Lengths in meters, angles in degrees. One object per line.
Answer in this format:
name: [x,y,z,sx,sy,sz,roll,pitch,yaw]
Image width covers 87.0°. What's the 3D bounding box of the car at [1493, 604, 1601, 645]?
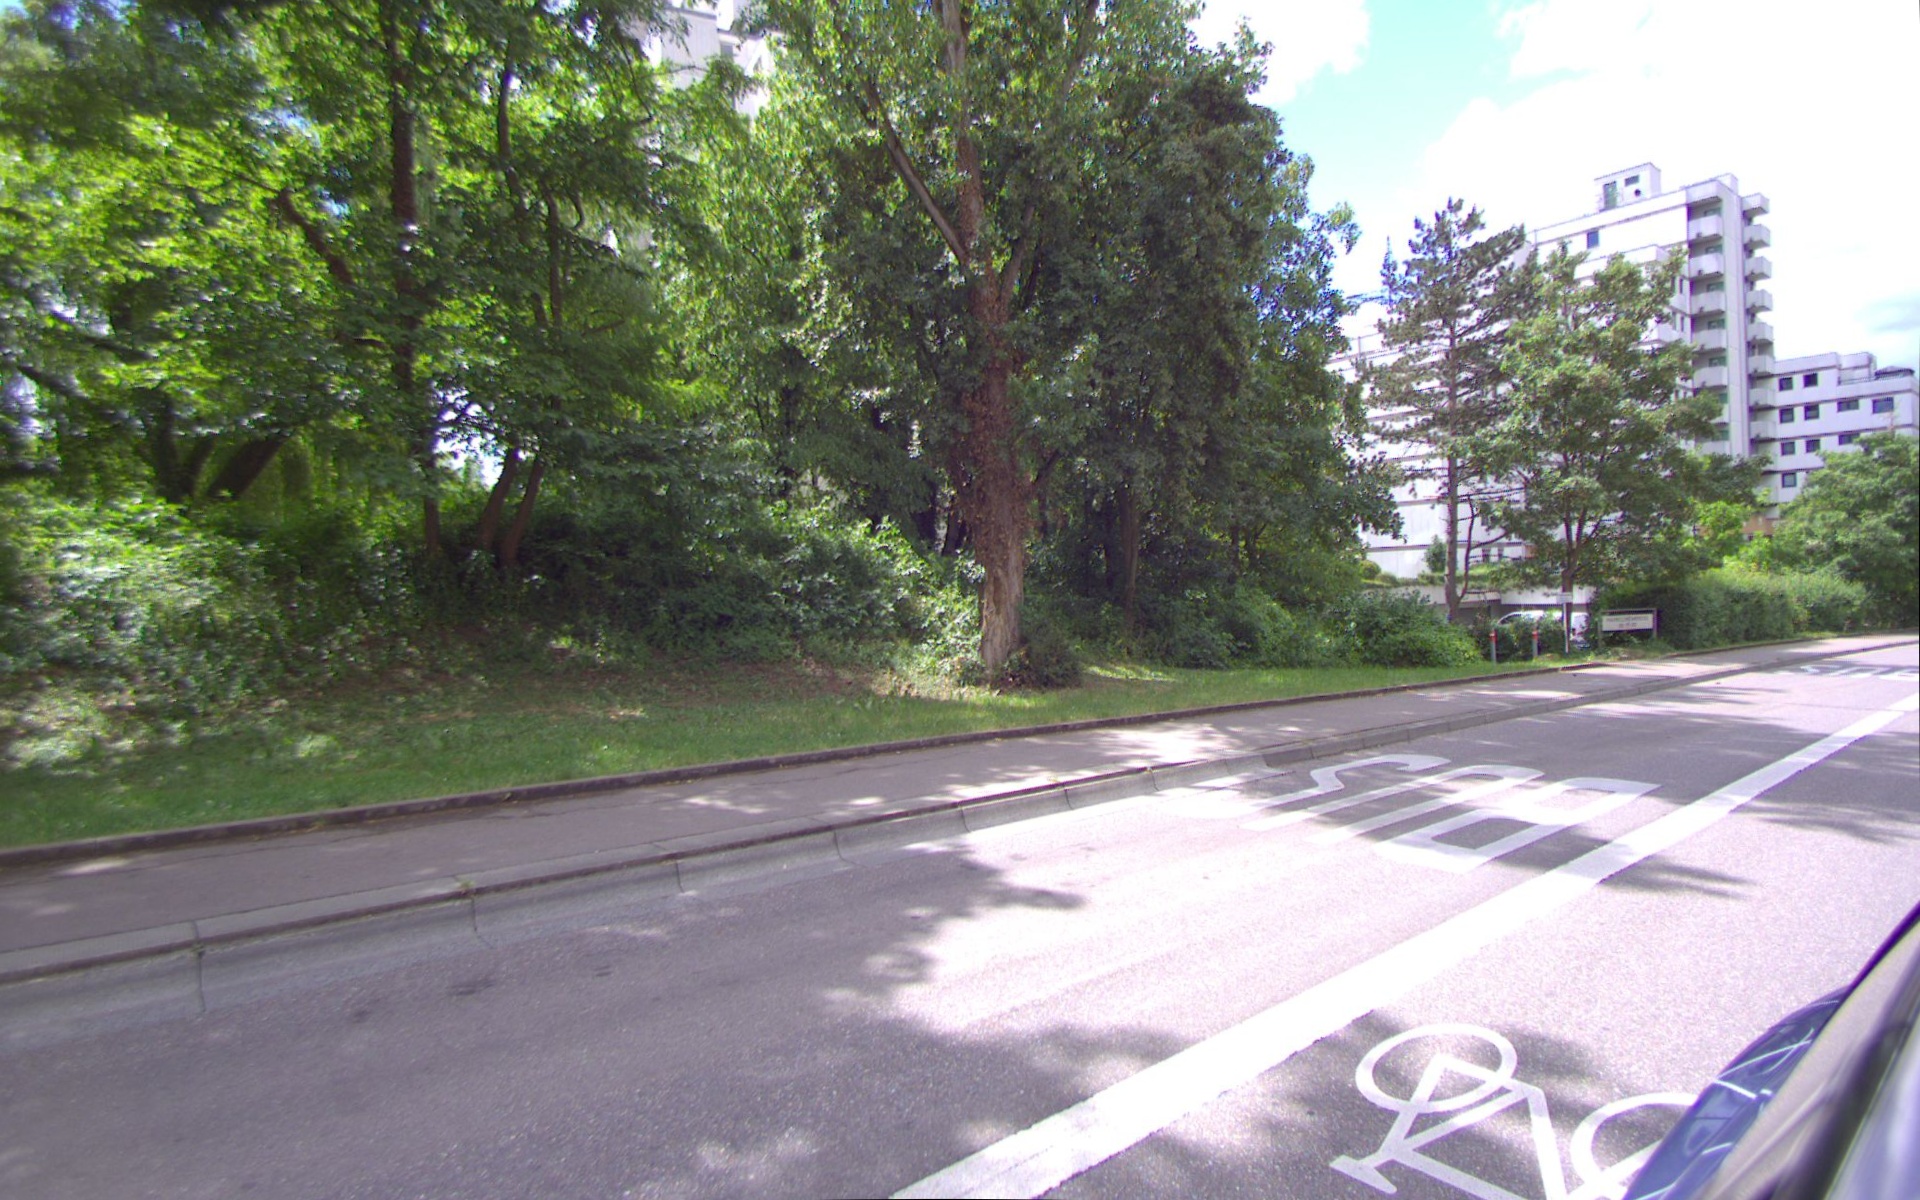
car: [31.039,1.226,53.636,1.962,2.039,4.549,-1,0,-34]
